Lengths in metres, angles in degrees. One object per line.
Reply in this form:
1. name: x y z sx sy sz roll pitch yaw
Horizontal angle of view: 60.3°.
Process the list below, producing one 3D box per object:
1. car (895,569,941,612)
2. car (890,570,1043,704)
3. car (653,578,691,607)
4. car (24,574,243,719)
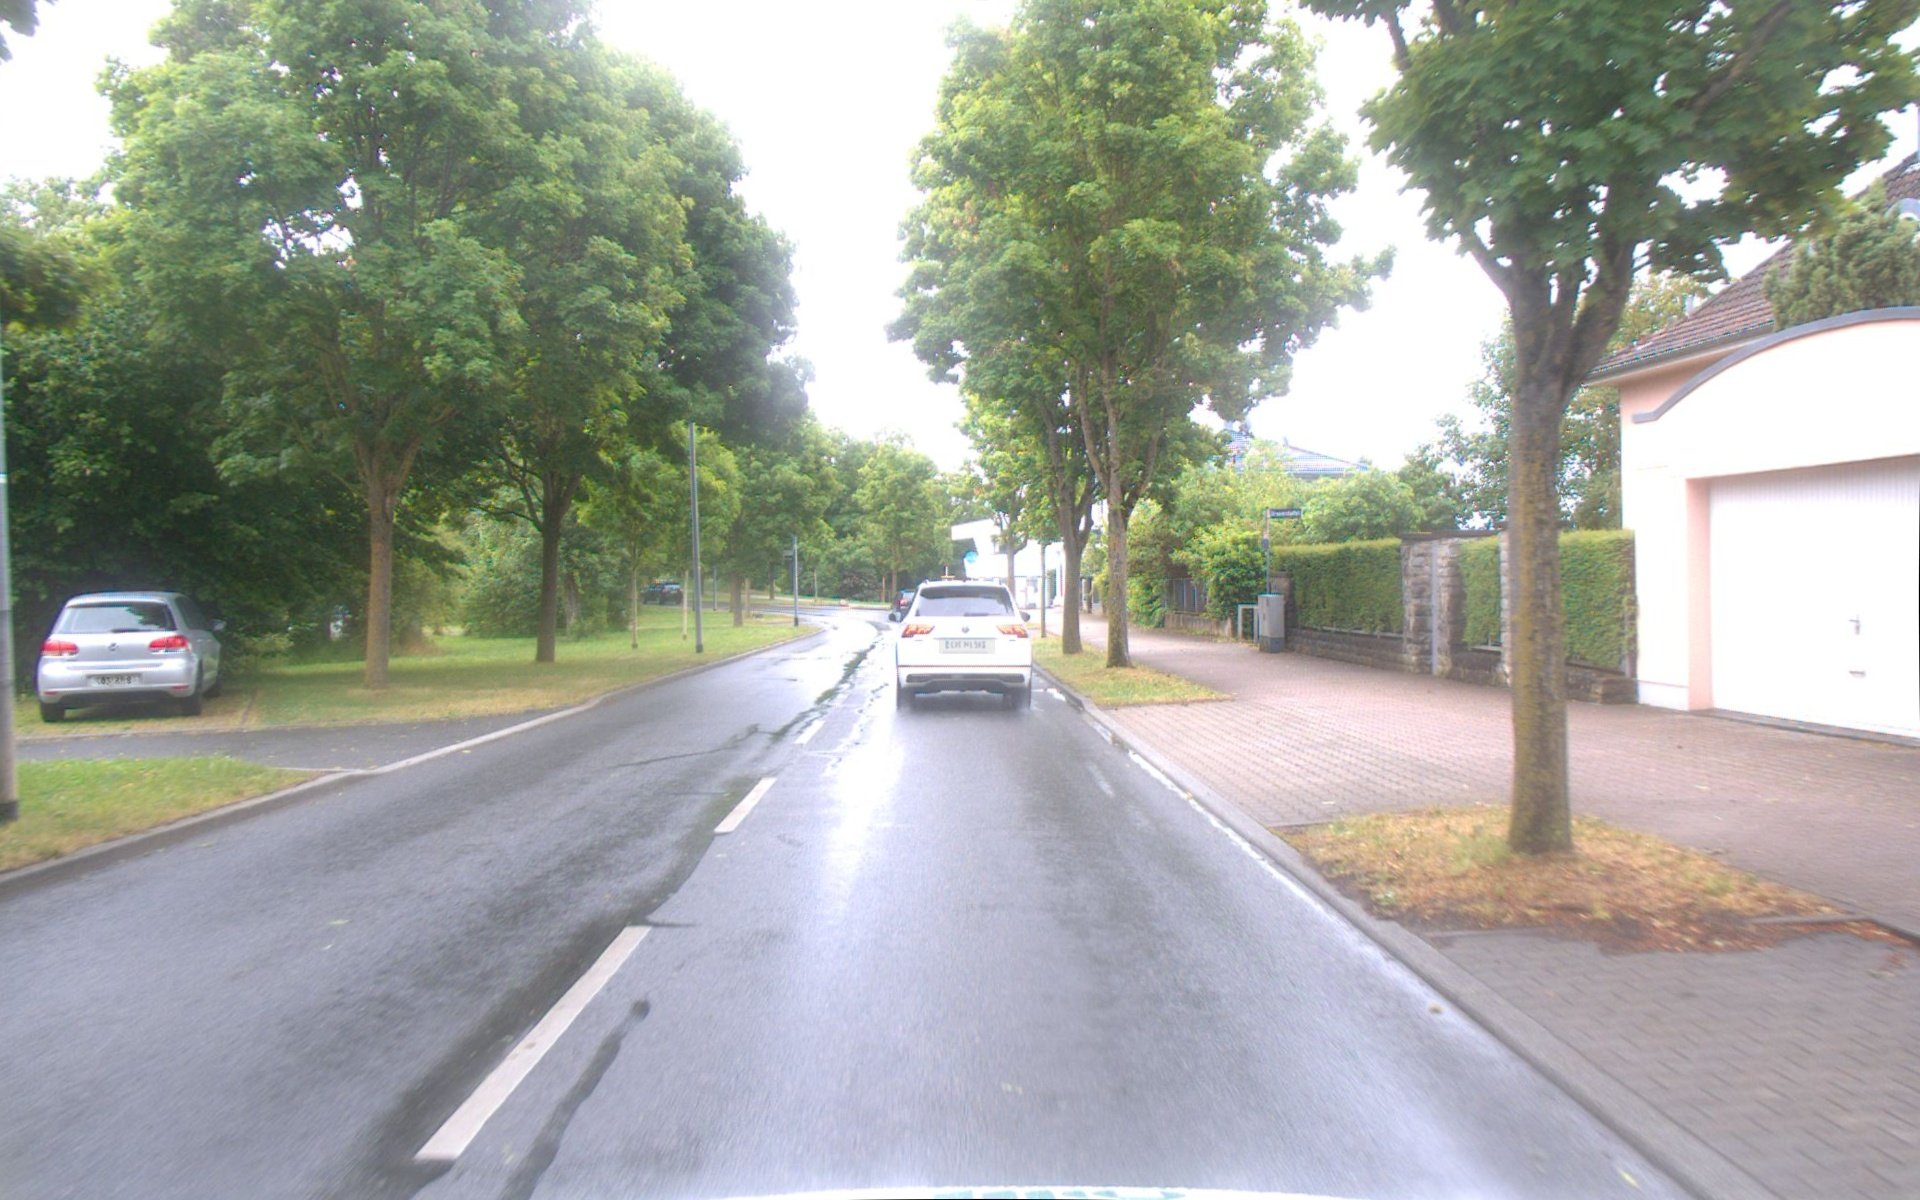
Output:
1. car: -2.058 -0.469 80.677 1.865 2.049 3.938 1 0 -7
2. car: 0.075 0.430 22.878 1.934 1.681 4.177 0 1 0
3. car: -20.991 -0.535 120.514 1.876 2.049 3.915 1 0 -24
4. car: -10.363 0.489 21.051 1.852 1.454 4.195 -2 3 -18
